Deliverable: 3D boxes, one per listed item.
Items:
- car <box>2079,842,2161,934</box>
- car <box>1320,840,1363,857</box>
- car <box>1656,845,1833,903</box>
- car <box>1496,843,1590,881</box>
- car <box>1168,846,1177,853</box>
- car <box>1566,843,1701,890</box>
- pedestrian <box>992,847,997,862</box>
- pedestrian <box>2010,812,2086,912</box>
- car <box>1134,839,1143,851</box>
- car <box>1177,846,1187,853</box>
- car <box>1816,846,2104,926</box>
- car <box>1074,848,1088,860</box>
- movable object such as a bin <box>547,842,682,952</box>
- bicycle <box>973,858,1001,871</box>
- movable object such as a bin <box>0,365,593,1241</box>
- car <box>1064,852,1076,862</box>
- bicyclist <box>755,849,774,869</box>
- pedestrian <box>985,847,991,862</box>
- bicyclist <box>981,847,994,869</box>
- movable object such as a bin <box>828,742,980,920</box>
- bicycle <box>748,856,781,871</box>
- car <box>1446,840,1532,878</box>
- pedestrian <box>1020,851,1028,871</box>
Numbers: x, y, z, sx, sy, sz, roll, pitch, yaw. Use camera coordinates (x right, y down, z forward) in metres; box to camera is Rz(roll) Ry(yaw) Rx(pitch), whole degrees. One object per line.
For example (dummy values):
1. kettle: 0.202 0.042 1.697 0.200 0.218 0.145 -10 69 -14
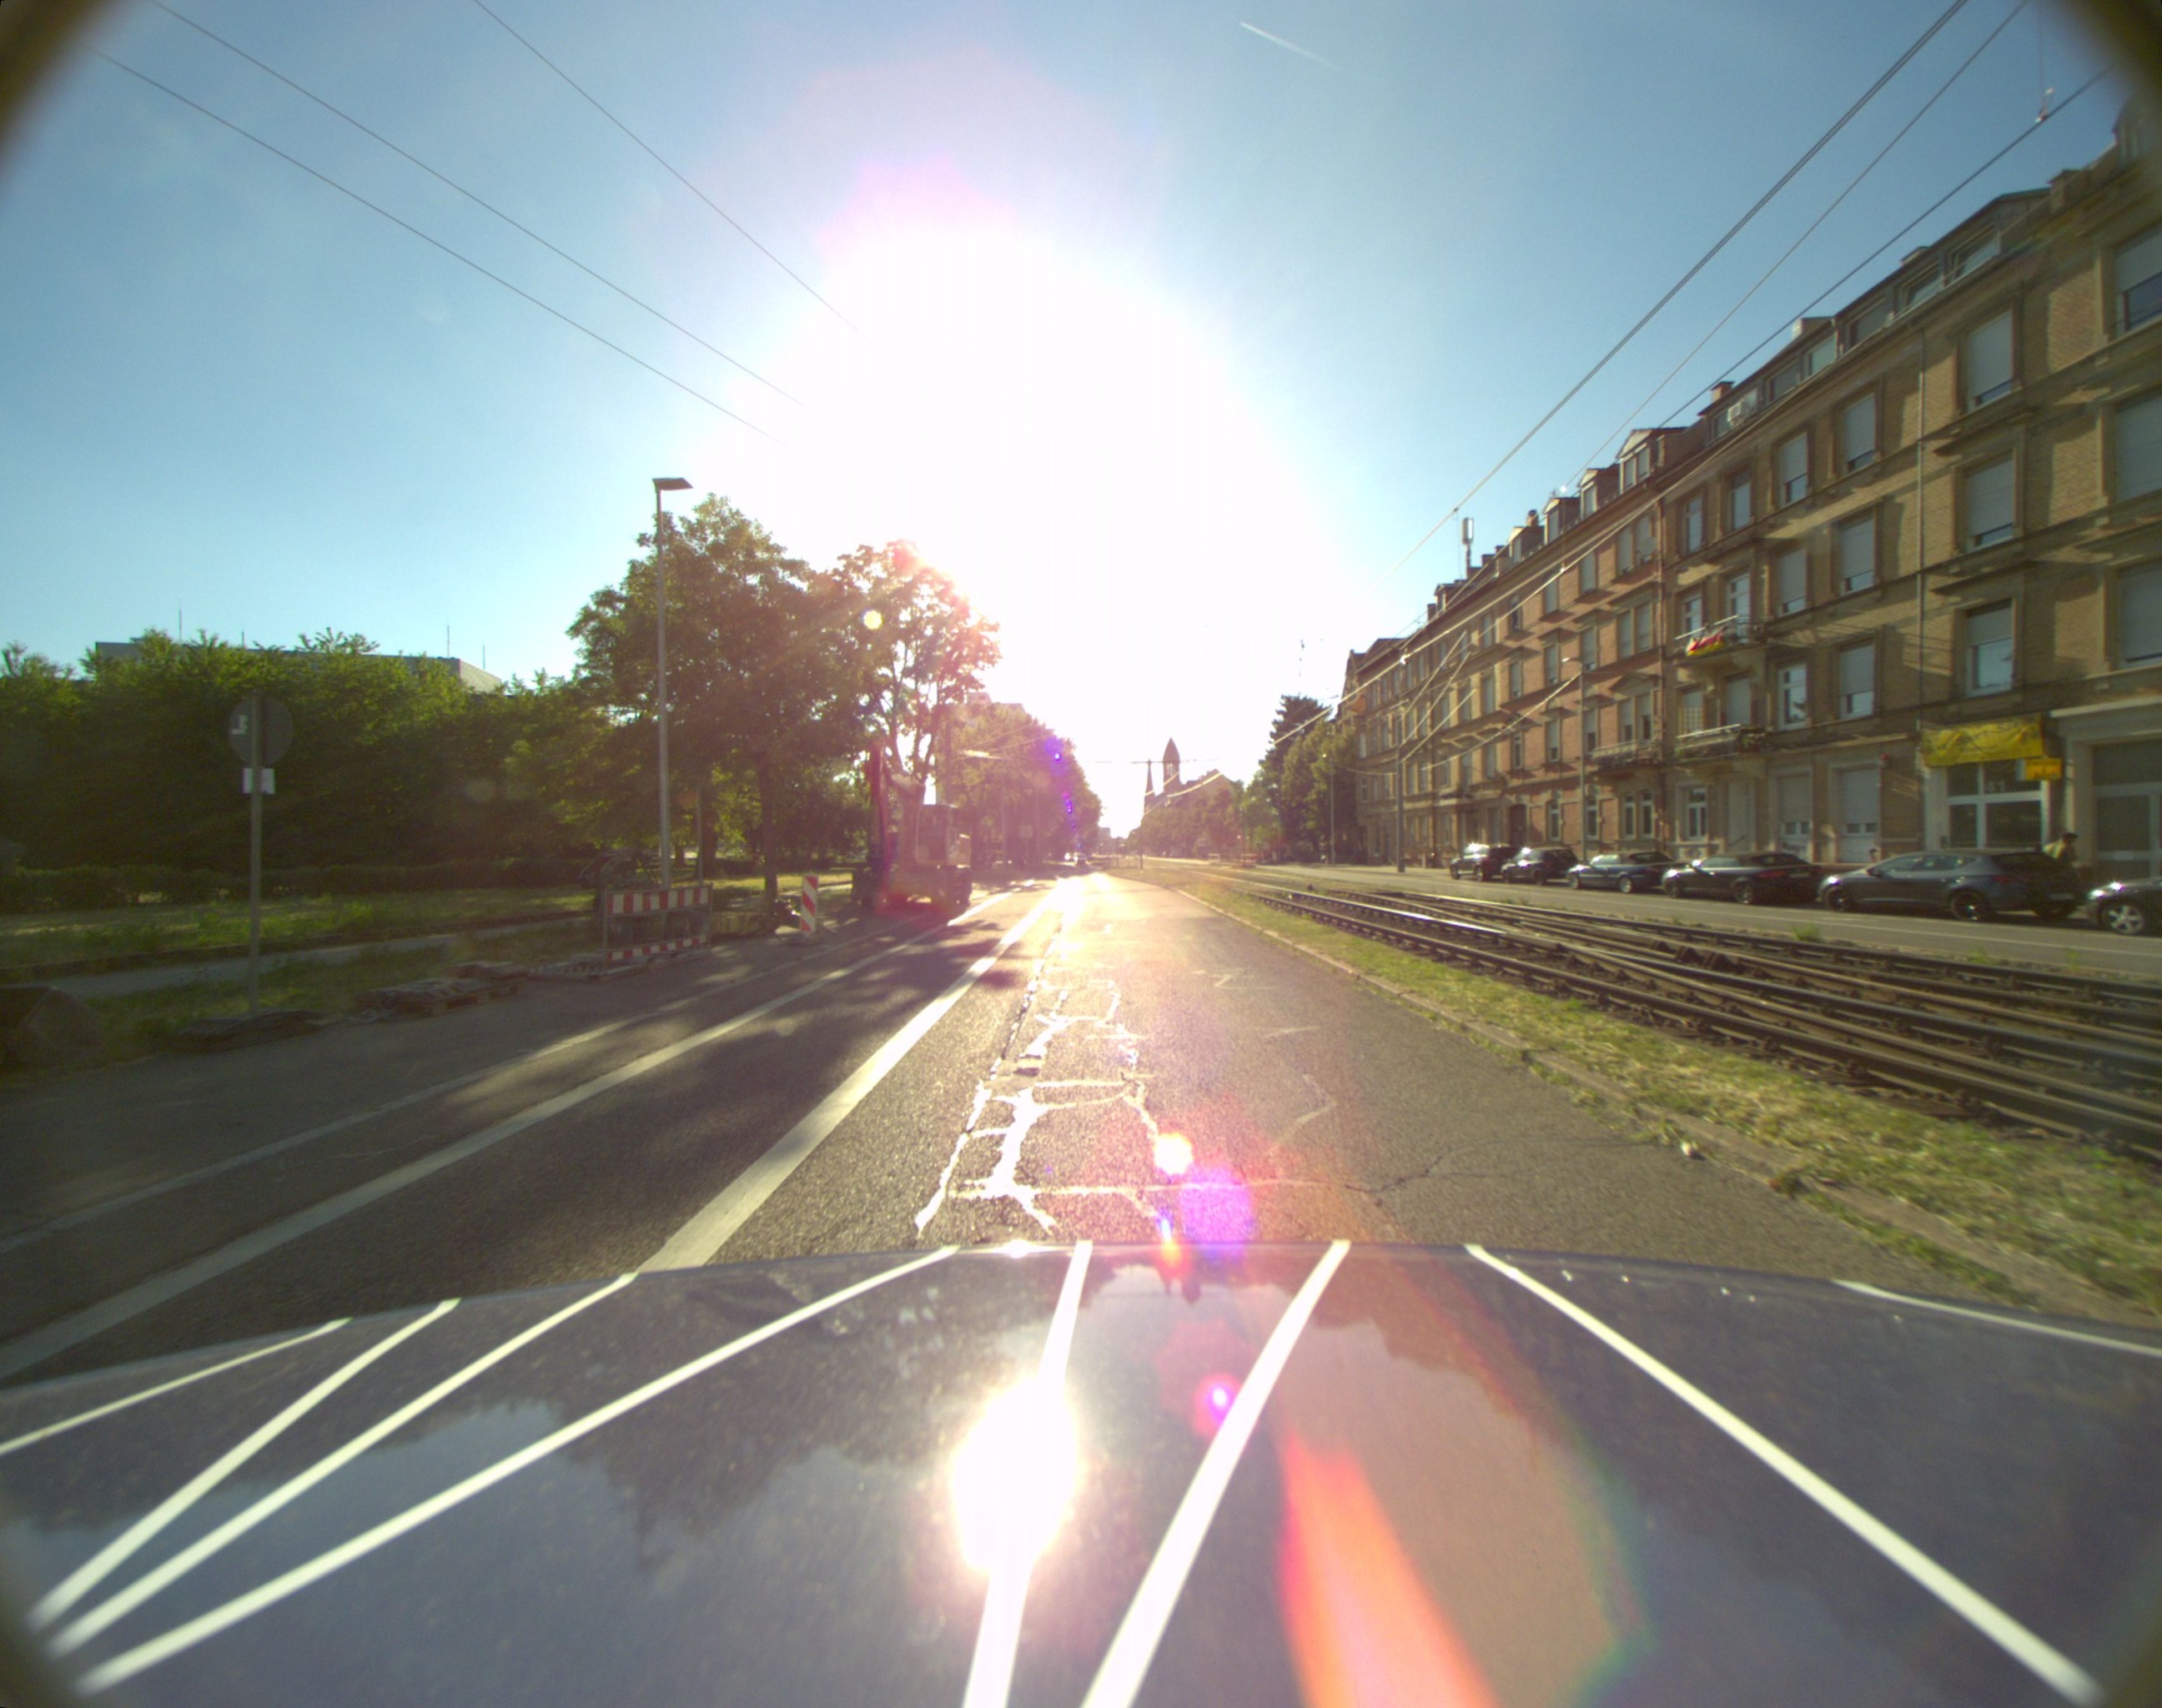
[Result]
1. car: 18.207 0.553 11.253 1.663 1.437 3.980 -3 1 1
2. car: 26.431 -0.513 77.018 3.991 1.502 1.802 -2 2 22
3. car: 18.884 0.510 21.895 1.663 1.437 3.980 -3 1 1
4. car: 19.284 0.298 31.908 1.663 1.437 3.765 -3 1 1
5. car: 21.520 -1.042 178.858 1.799 1.501 3.999 0 1 -1
6. car: 19.074 0.388 26.480 1.663 1.437 4.196 -3 1 1
7. pedestrian: -10.360 0.045 91.338 0.502 1.830 0.565 0 1 -1
8. pedestrian: 20.248 0.156 15.914 0.637 2.002 0.875 -4 2 -28
9. car: 12.759 -2.019 169.074 1.799 2.766 3.999 -1 1 1
10. car: 22.435 -1.020 169.185 1.799 1.501 3.999 0 1 -1
11. car: 18.667 0.591 16.454 1.663 1.437 3.980 -3 1 1
12. car: 0.023 0.021 101.092 1.798 1.501 4.000 -3 0 1
13. movable object such as a bin: -7.822 0.681 12.817 1.320 1.659 1.303 5 1 5
14. bicycle: -7.473 0.837 60.491 2.059 0.973 0.722 -3 1 12
15. movable object such as a bin: -6.556 -0.261 3.784 3.347 3.953 7.597 2 1 -1
16. car: -1.763 0.499 122.404 1.798 1.501 4.000 -3 0 1
17. bicyclist: -24.352 0.396 58.519 1.207 1.531 0.618 -2 1 -14
18. pedestrian: -11.214 0.047 91.420 0.645 1.830 0.565 0 1 -1
19. bicyclist: -7.434 0.280 60.457 0.745 1.704 0.722 -3 1 13
20. movable object such as a bin: -5.132 -0.637 23.673 2.922 4.584 7.597 2 1 -1
21. bicycle: -24.368 0.699 58.516 2.291 1.050 0.618 -2 1 -14
22. car: 19.347 0.202 36.267 1.798 1.633 4.631 -3 1 4
23. pedestrian: -4.569 0.566 61.190 0.532 1.653 0.486 1 1 -21
